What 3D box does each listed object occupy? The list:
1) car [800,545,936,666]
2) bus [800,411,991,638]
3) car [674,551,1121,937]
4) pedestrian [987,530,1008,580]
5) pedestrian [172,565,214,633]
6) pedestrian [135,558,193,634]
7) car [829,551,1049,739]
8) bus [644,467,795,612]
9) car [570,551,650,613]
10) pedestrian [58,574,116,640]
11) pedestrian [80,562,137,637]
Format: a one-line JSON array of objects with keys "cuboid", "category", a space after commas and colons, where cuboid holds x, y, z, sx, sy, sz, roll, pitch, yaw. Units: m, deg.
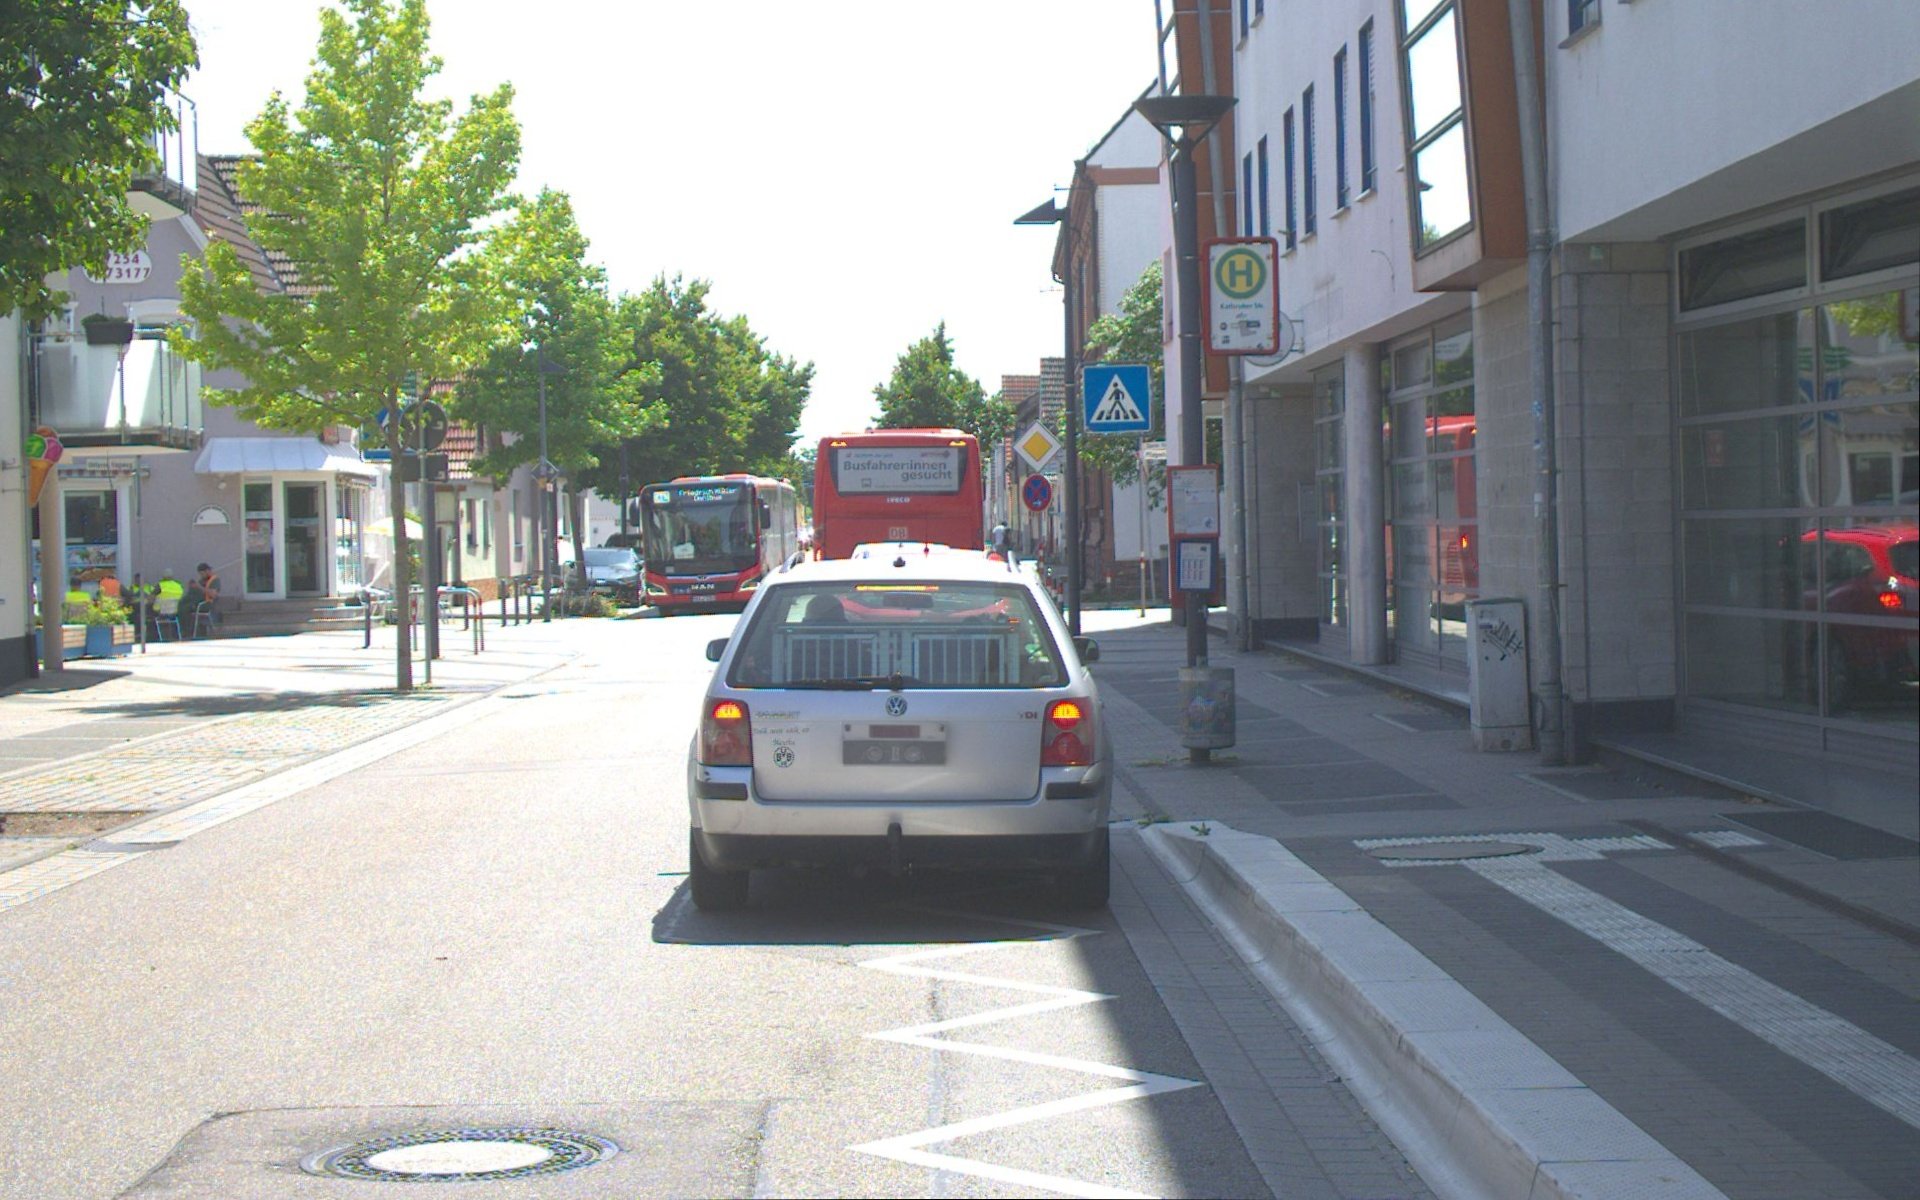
[{"cuboid": [-1.099, 0.031, 42.459, 1.593, 1.425, 3.680, 0, 1, 0], "category": "car"}, {"cuboid": [-1.220, -1.182, 56.425, 2.740, 3.287, 12.706, -1, 1, -3], "category": "bus"}, {"cuboid": [-0.276, 0.526, 14.962, 1.677, 1.425, 3.680, 1, 1, -1], "category": "car"}, {"cuboid": [1.256, -1.510, 114.627, 0.606, 1.661, 0.789, -1, 1, -2], "category": "pedestrian"}, {"cuboid": [-13.473, -0.027, 60.398, 0.622, 1.175, 0.697, -1, 1, -5], "category": "pedestrian"}, {"cuboid": [-13.758, -0.068, 59.422, 0.634, 1.284, 0.789, 1, 1, -44], "category": "pedestrian"}, {"cuboid": [-0.197, 0.320, 28.113, 1.677, 1.425, 3.680, 0, 1, -1], "category": "car"}, {"cuboid": [-5.594, -1.481, 82.731, 2.668, 3.113, 17.808, 0, 1, -1], "category": "bus"}, {"cuboid": [-8.517, -0.454, 83.906, 1.605, 1.433, 4.065, -1, 1, -1], "category": "car"}, {"cuboid": [-14.893, 0.116, 58.672, 0.634, 1.112, 0.789, 1, 1, -44], "category": "pedestrian"}, {"cuboid": [-14.755, -0.010, 59.589, 0.634, 1.284, 0.789, 1, 1, -44], "category": "pedestrian"}]
